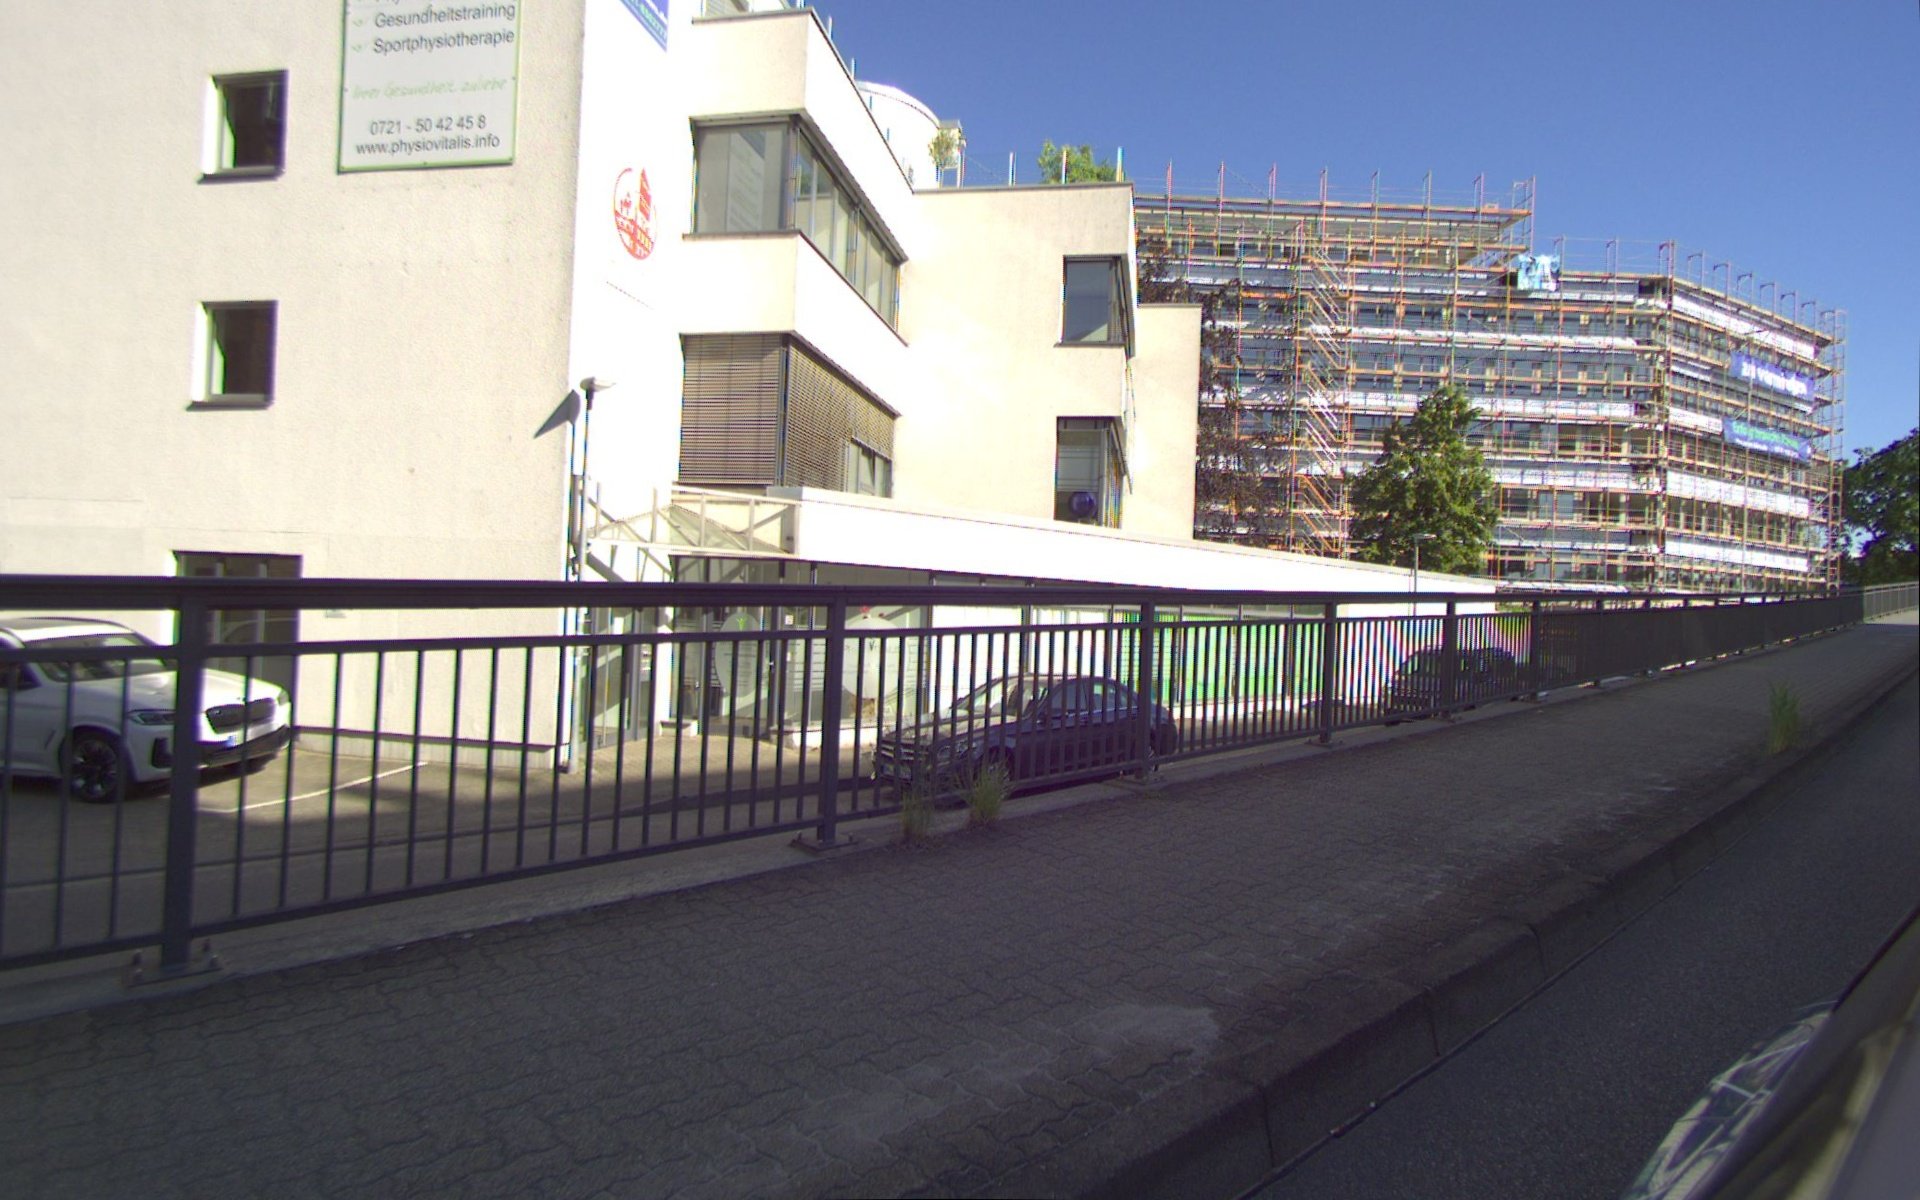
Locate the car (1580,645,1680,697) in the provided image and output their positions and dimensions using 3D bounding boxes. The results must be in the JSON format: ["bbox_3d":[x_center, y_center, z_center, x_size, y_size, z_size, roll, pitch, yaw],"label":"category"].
[{"bbox_3d":[21.088,2.173,31.796,3.931,1.410,1.723,1,-1,-42],"label":"car"}]

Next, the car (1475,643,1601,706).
[{"bbox_3d":[14.981,1.867,26.156,3.931,1.410,1.723,1,-1,-42],"label":"car"}]

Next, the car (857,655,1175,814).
[{"bbox_3d":[0.809,1.546,12.807,3.929,1.541,1.724,1,-1,-41],"label":"car"}]

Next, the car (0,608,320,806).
[{"bbox_3d":[-9.579,1.020,10.846,4.455,1.707,1.840,2,0,9],"label":"car"}]

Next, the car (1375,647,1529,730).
[{"bbox_3d":[10.859,1.860,22.226,3.931,1.541,1.723,1,-1,-42],"label":"car"}]
